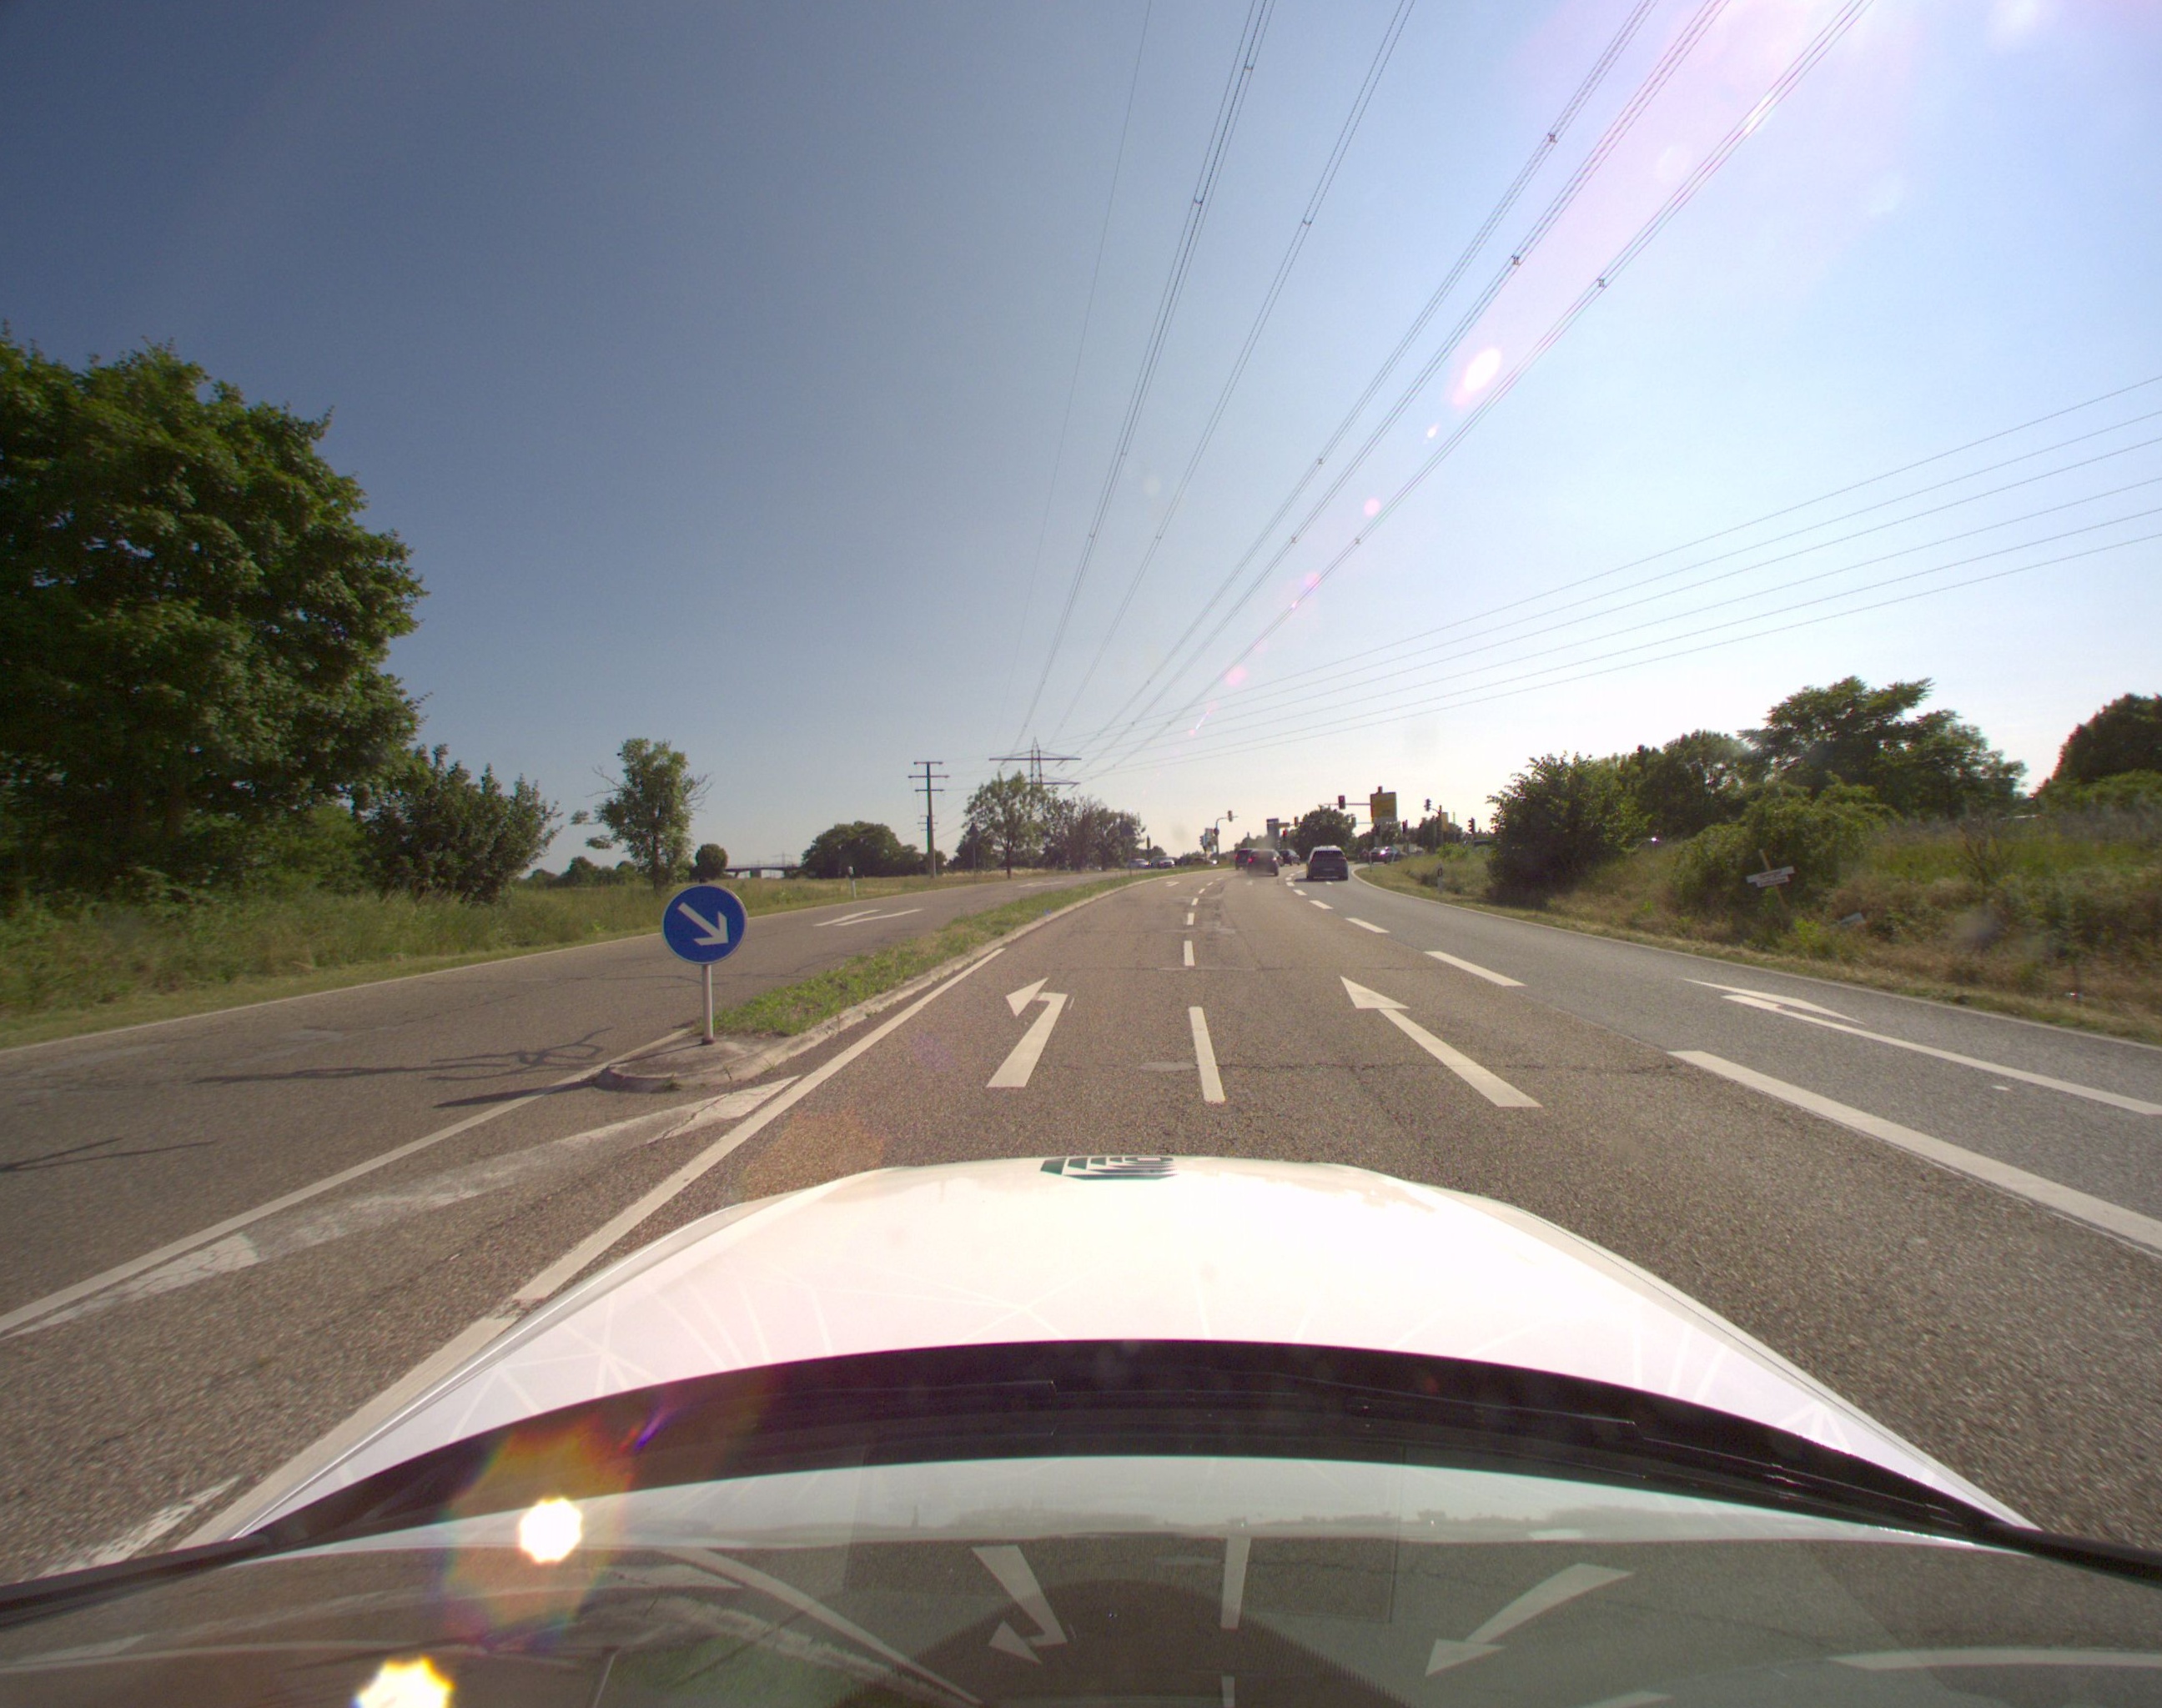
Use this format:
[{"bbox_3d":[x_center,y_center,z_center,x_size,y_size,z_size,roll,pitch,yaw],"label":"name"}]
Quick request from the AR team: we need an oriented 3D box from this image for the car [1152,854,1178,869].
[{"bbox_3d":[9.776,0.893,95.226,1.817,1.651,3.981,-2,-1,-14],"label":"car"}]

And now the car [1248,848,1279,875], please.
[{"bbox_3d":[10.141,0.394,45.174,1.621,1.448,3.307,-1,0,13],"label":"car"}]

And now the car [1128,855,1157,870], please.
[{"bbox_3d":[7.616,1.056,101.548,1.824,1.651,3.964,-2,-1,-27],"label":"car"}]

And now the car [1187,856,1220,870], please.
[{"bbox_3d":[15.750,1.144,104.648,1.829,1.651,3.953,-1,-1,-39],"label":"car"}]

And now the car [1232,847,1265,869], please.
[{"bbox_3d":[12.678,0.271,61.593,1.727,1.569,3.644,-2,0,23],"label":"car"}]

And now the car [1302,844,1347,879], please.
[{"bbox_3d":[11.400,0.330,38.305,1.760,1.517,4.115,-2,0,14],"label":"car"}]

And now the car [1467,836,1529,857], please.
[{"bbox_3d":[40.344,-0.746,78.813,2.011,1.918,4.888,-1,0,-42],"label":"car"}]

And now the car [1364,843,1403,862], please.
[{"bbox_3d":[25.075,-0.117,67.471,1.626,1.385,4.025,-3,0,42],"label":"car"}]

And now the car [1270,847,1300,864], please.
[{"bbox_3d":[18.206,0.123,72.470,1.725,1.484,3.646,-1,0,28],"label":"car"}]
